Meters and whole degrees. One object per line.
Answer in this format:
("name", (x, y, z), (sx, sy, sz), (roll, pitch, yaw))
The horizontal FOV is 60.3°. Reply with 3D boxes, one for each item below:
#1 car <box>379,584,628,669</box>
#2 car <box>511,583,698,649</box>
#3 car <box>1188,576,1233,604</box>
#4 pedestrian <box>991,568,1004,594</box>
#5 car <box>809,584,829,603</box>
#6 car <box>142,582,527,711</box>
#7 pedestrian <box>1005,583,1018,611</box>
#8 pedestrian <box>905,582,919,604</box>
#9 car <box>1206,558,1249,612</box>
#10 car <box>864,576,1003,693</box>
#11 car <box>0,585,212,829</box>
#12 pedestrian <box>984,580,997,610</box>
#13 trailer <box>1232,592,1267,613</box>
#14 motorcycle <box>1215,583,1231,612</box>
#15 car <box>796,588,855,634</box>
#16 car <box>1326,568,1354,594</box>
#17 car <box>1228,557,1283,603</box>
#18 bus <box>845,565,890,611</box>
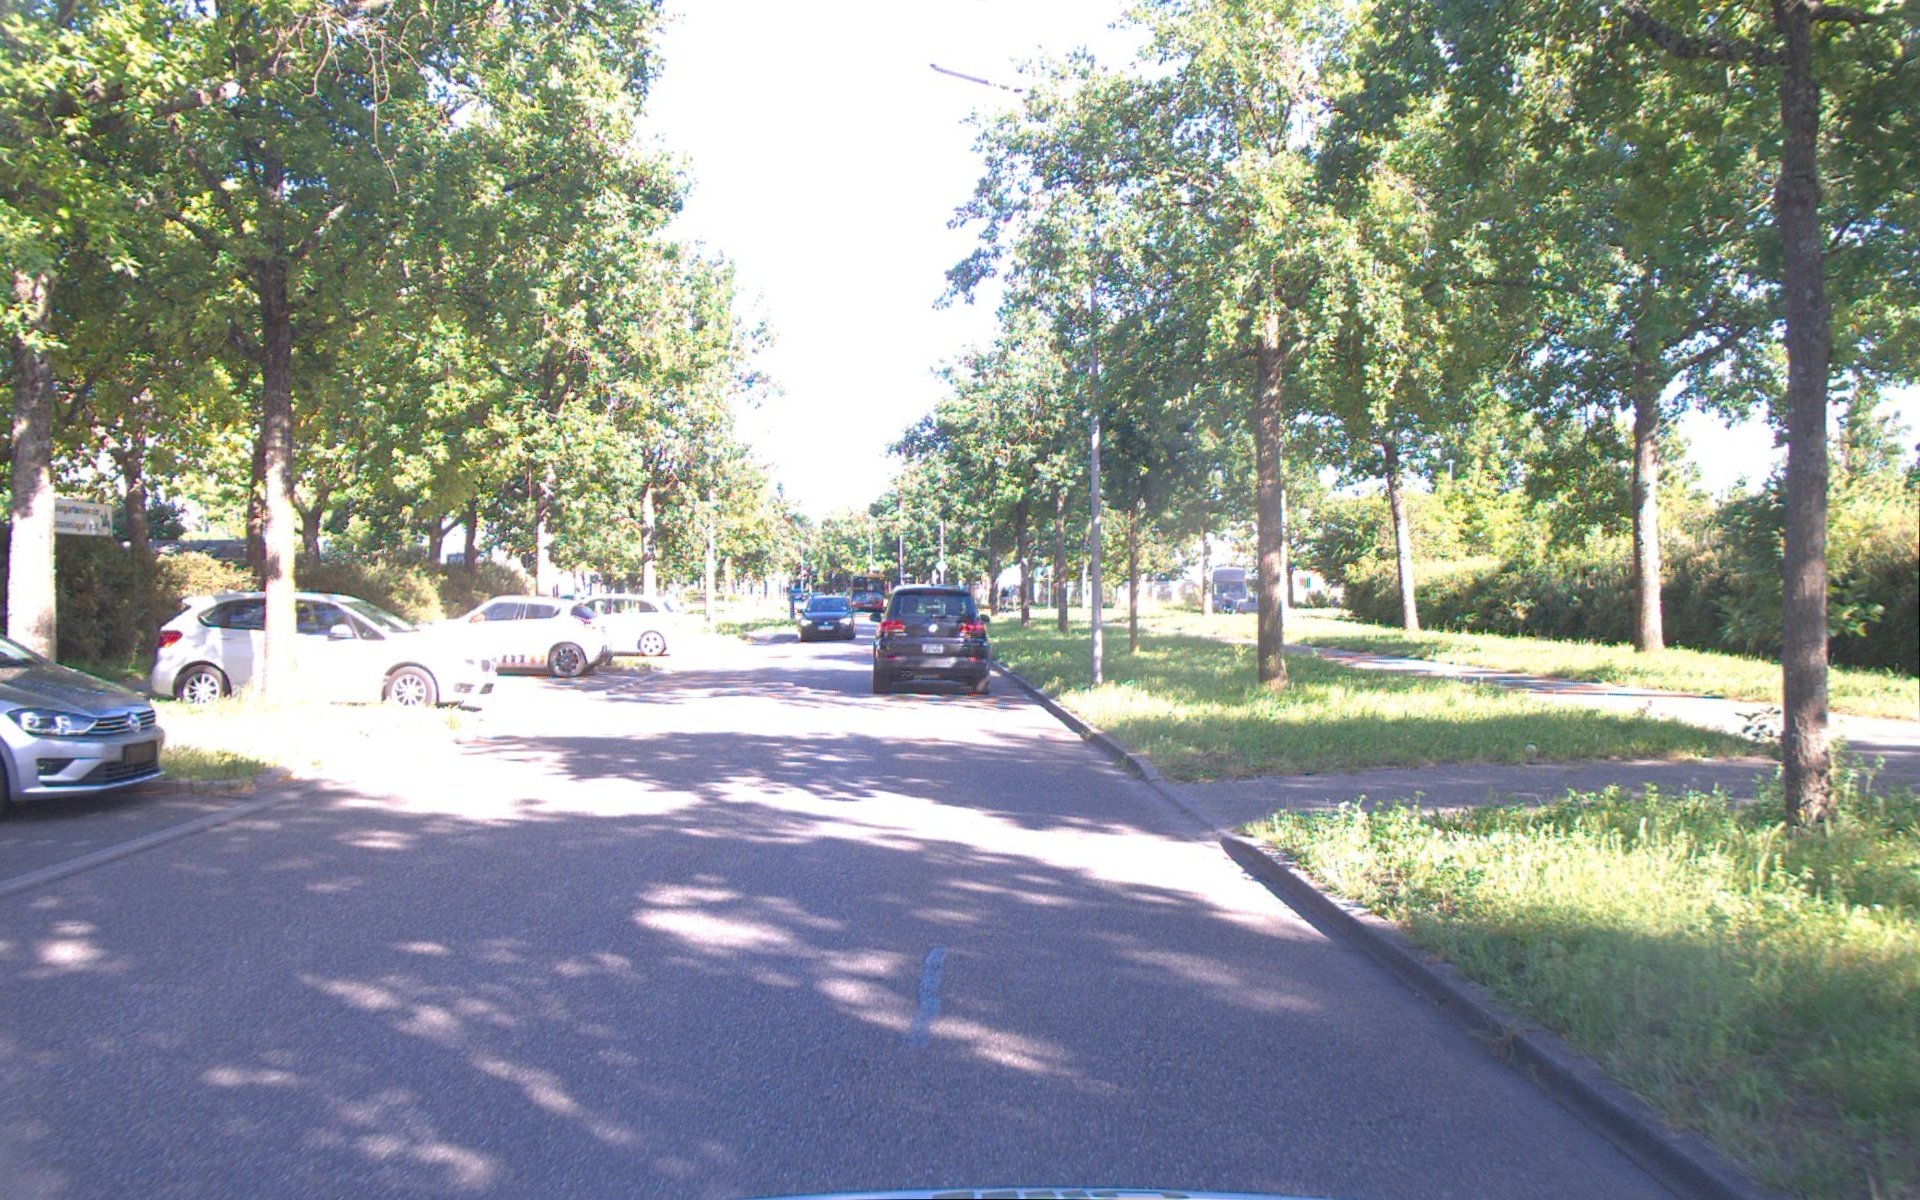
("car", (-8.841, 0.499, 32.355), (4.325, 1.537, 2.087), (1, 1, -4))
("car", (-9.186, 0.400, 43.046), (4.538, 1.585, 2.188), (1, 1, -7))
("car", (15.402, -0.616, 101.890), (1.966, 1.693, 3.593), (-1, 1, -5))
("pedestrian", (2.387, -1.231, 105.220), (0.711, 1.631, 0.866), (-1, 0, -6))
("car", (-12.771, -0.580, 150.102), (1.731, 1.555, 4.491), (-2, 1, -5))
("car", (-8.213, 0.576, 22.056), (4.323, 1.583, 2.088), (1, 1, -1))
("pedestrian", (3.296, -0.195, 105.857), (0.711, 1.785, 0.867), (-3, 1, -5))
("pedestrian", (-3.862, -0.561, 132.678), (0.999, 1.680, 1.098), (-1, 0, -6))
("car", (14.644, -0.873, 90.856), (2.040, 2.610, 5.978), (1, 3, 7))
("car", (-0.510, 0.482, 26.603), (1.898, 1.685, 4.422), (1, 1, -5))
("car", (-7.809, 0.685, 11.816), (4.052, 1.583, 1.865), (1, 1, -1))
("pedestrian", (1.879, -0.306, 101.923), (0.711, 1.843, 0.867), (-1, 3, -5))
("trailer", (13.726, 0.114, 78.520), (1.545, 0.883, 2.055), (-1, -3, 7))
("motorcycle", (12.780, -0.087, 80.389), (0.648, 1.253, 2.407), (-1, -4, 7))
("car", (-4.468, 0.337, 55.425), (1.650, 1.426, 4.426), (-2, 1, -1))
("car", (25.471, -1.294, 110.959), (1.796, 1.668, 4.004), (-1, 1, 12))
("car", (18.023, -1.219, 100.967), (2.118, 2.689, 4.846), (-1, 1, -5))
("bus", (-7.583, -1.009, 134.113), (2.713, 3.517, 11.190), (-1, 1, -8))
